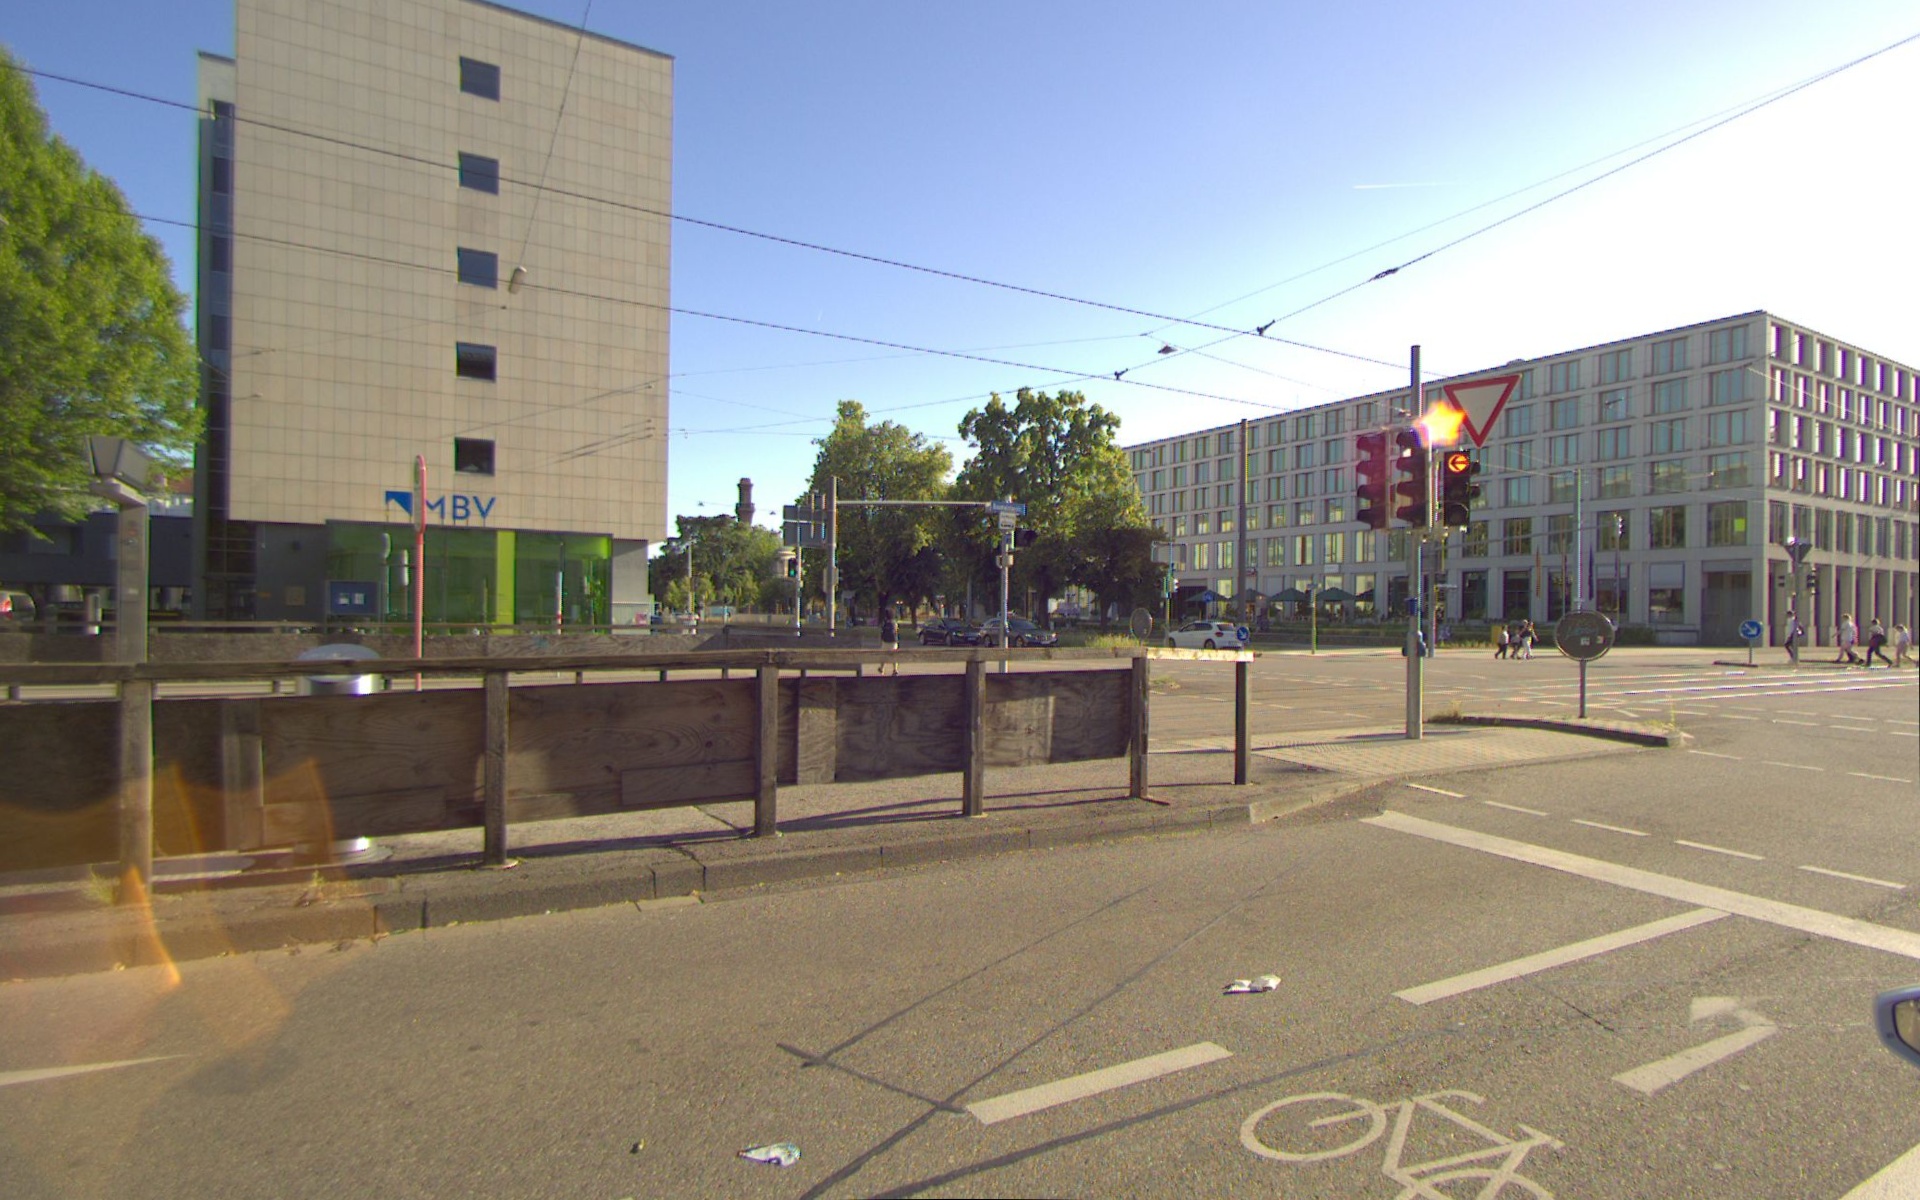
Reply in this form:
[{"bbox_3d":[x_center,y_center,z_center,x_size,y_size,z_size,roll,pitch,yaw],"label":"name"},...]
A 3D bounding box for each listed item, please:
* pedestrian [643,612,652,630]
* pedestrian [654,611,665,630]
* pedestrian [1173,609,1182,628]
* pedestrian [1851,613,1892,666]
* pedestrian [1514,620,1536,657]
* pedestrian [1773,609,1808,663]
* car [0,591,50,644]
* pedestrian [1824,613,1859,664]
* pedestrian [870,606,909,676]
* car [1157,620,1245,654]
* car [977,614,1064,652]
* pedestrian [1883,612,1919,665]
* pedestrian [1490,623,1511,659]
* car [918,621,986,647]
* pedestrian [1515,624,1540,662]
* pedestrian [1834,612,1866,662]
[{"bbox_3d":[-30.451,2.040,97.938,0.666,1.739,0.754,1,-1,-32],"label":"pedestrian"},{"bbox_3d":[-29.493,2.041,98.565,0.818,1.829,0.754,1,-1,-31],"label":"pedestrian"},{"bbox_3d":[19.528,1.693,90.286,0.556,1.691,0.537,2,0,-33],"label":"pedestrian"},{"bbox_3d":[31.863,1.373,35.124,0.654,1.827,0.868,1,-1,-24],"label":"pedestrian"},{"bbox_3d":[26.078,1.768,46.393,0.615,1.666,0.690,1,-1,-34],"label":"pedestrian"},{"bbox_3d":[30.274,1.290,36.637,0.628,1.943,0.800,1,-1,-24],"label":"pedestrian"},{"bbox_3d":[-27.713,0.447,27.788,3.371,1.431,1.562,2,0,-20],"label":"car"},{"bbox_3d":[31.781,1.379,36.206,0.706,1.827,0.737,1,-1,-24],"label":"pedestrian"},{"bbox_3d":[-1.788,1.041,25.563,0.814,1.739,0.757,1,-1,-18],"label":"pedestrian"},{"bbox_3d":[11.189,1.693,46.801,1.614,1.452,4.021,3,-2,-31],"label":"car"},{"bbox_3d":[2.815,1.529,47.806,1.832,1.602,4.490,1,1,-32],"label":"car"},{"bbox_3d":[32.915,1.345,35.091,0.525,1.827,0.867,1,-1,-24],"label":"pedestrian"},{"bbox_3d":[25.209,1.922,46.894,0.609,1.666,0.696,1,-1,1],"label":"pedestrian"},{"bbox_3d":[-0.475,1.796,53.312,1.755,1.311,4.209,1,-1,-30],"label":"car"},{"bbox_3d":[25.531,1.931,45.196,0.615,1.666,0.787,1,-1,-34],"label":"pedestrian"},{"bbox_3d":[32.495,1.345,36.689,0.525,1.827,0.737,1,-1,-24],"label":"pedestrian"}]
